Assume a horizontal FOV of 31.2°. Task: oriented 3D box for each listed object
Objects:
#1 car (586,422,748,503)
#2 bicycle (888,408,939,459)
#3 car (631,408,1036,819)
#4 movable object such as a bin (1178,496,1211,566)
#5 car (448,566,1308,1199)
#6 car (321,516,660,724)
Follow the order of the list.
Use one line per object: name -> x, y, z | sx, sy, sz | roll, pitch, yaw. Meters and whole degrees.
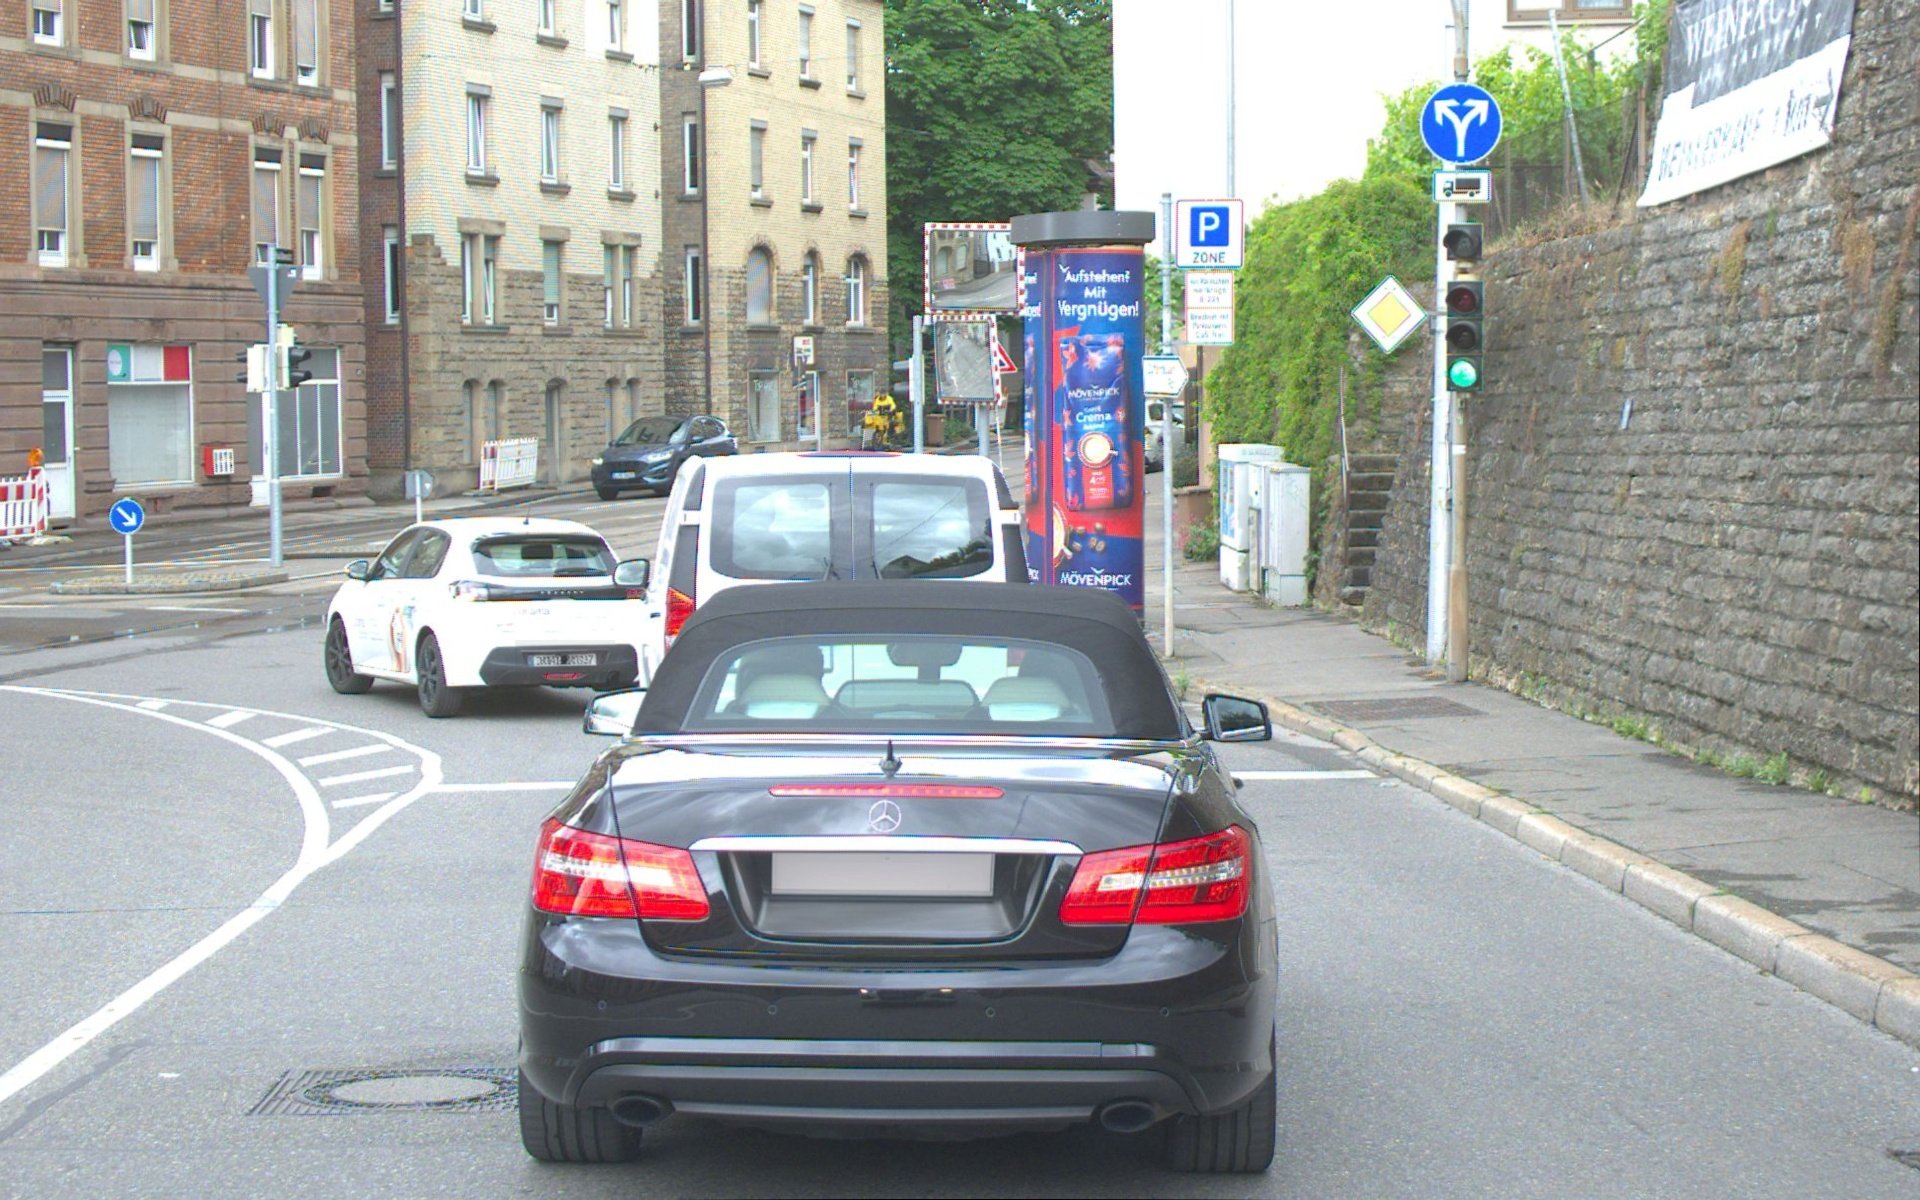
car -> -6.066, -2.887, 71.690 | 1.995, 1.509, 4.284 | 0, 4, 15
bicycle -> -1.247, -4.505, 92.871 | 0.632, 1.302, 2.598 | -3, 3, 14
car -> -0.789, 0.049, 18.575 | 1.891, 1.922, 4.646 | 1, 0, -5
movable object such as a bin -> 3.025, -0.892, 44.422 | 0.343, 0.908, 0.495 | 0, 1, -6
car -> -0.214, 0.652, 9.337 | 1.761, 1.404, 4.399 | -1, 1, -1
car -> -3.729, 0.113, 26.760 | 1.680, 1.461, 3.919 | -2, 1, -22
